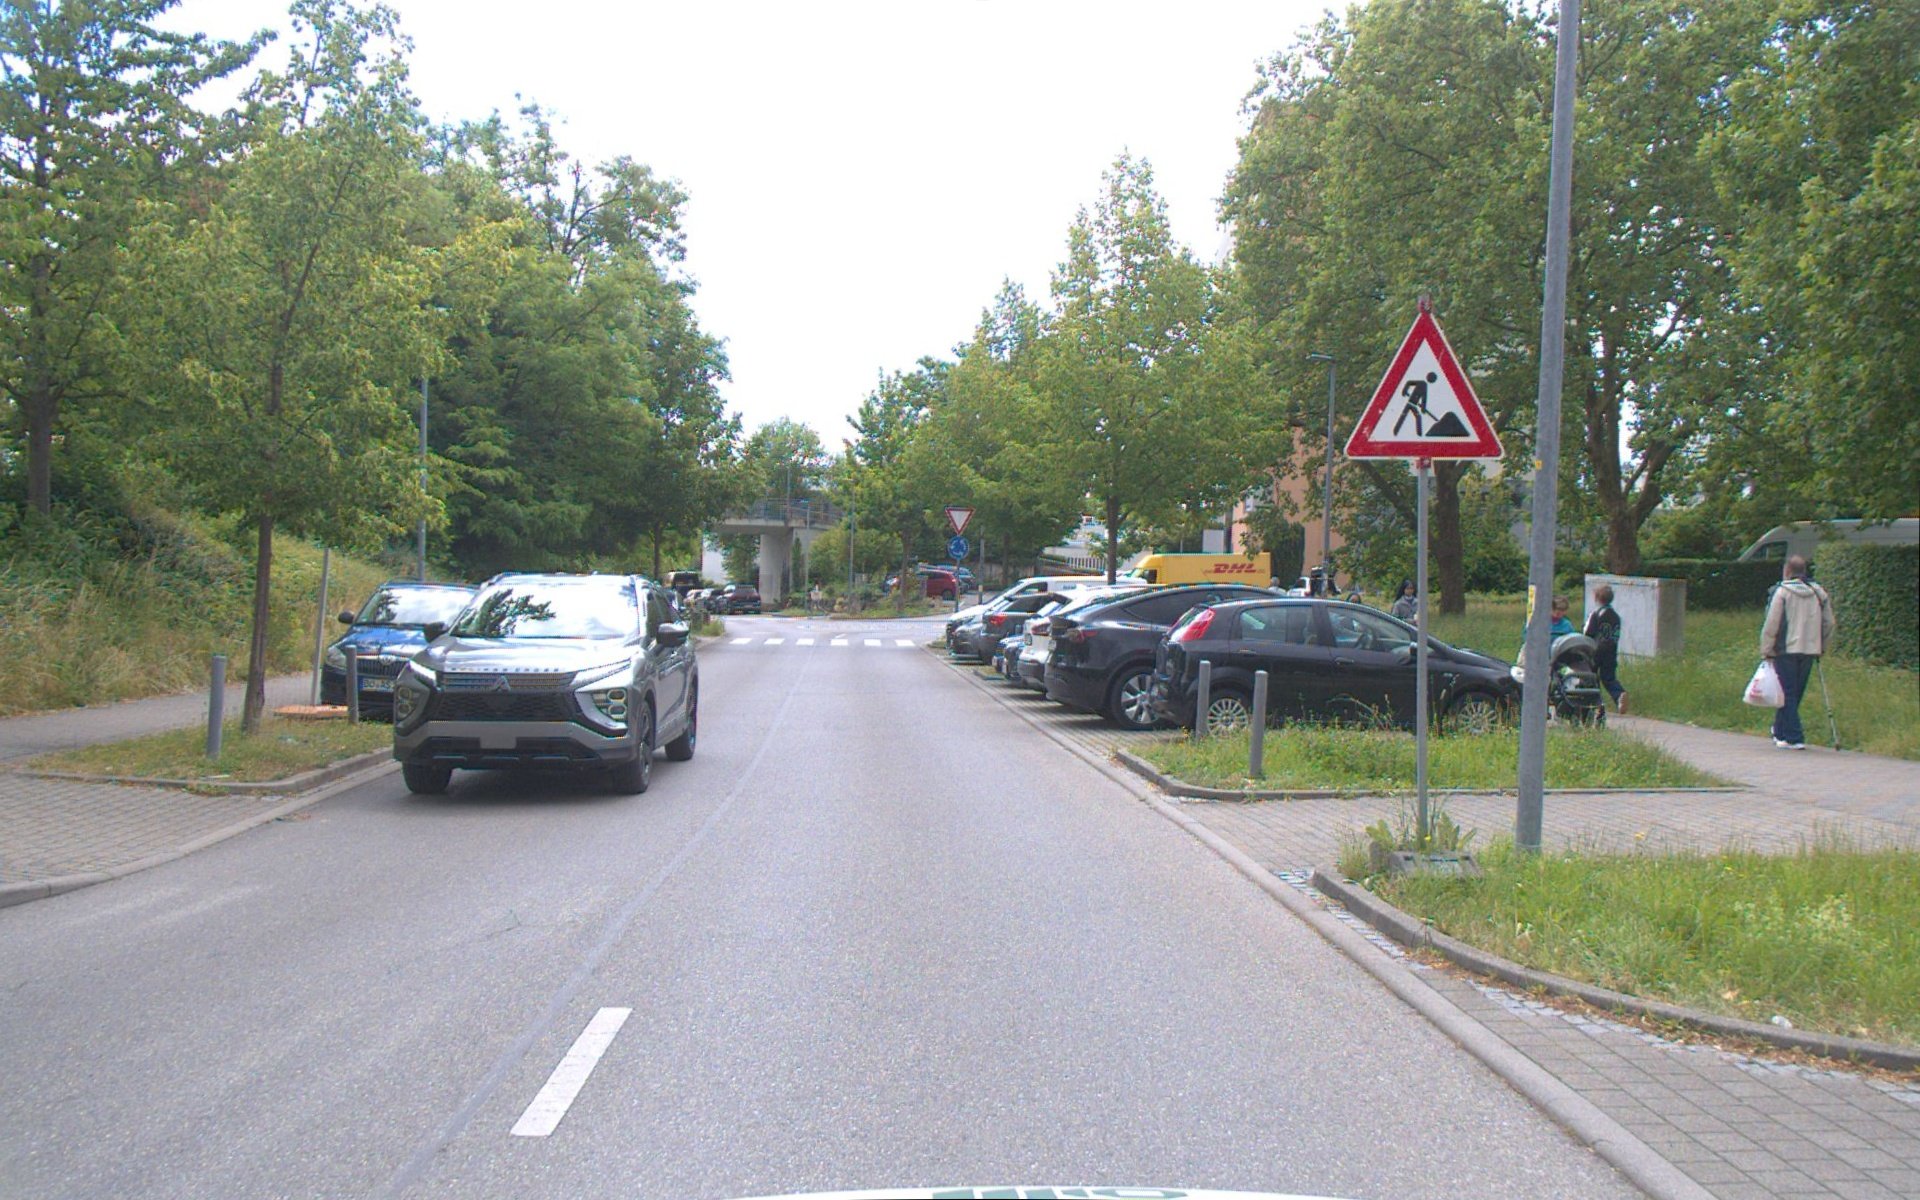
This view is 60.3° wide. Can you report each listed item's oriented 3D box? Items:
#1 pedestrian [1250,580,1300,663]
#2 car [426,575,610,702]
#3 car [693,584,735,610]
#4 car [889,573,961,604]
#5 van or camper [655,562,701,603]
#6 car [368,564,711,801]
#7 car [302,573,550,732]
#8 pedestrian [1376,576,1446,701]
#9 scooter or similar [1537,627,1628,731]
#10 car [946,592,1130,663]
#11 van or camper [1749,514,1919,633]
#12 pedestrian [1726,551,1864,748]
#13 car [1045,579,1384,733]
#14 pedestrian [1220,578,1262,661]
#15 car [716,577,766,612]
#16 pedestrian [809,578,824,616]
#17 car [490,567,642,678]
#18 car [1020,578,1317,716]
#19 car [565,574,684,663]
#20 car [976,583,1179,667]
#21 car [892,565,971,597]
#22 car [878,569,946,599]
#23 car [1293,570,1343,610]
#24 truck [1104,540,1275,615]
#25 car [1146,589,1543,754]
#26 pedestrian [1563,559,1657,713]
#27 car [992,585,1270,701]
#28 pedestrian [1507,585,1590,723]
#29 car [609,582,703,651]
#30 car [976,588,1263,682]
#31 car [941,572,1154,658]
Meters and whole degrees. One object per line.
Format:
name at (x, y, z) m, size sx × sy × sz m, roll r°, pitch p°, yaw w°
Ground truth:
pedestrian at (6.556, 0.449, 34.470) m, size 0.852 × 1.685 × 0.592 m, roll 1°, pitch 0°, yaw -5°
car at (-6.241, 0.475, 23.807) m, size 1.656 × 1.537 × 4.228 m, roll 4°, pitch 1°, yaw -4°
car at (-14.795, -0.148, 99.471) m, size 1.675 × 1.523 × 4.093 m, roll 0°, pitch 0°, yaw -21°
car at (-1.761, -0.602, 84.857) m, size 3.574 × 1.464 × 1.685 m, roll 2°, pitch 1°, yaw 1°
van or camper at (-18.812, -1.122, 110.067) m, size 1.965 × 2.567 × 5.437 m, roll -2°, pitch 0°, yaw -20°
car at (-3.207, 0.563, 13.487) m, size 1.858 × 1.610 × 4.165 m, roll 1°, pitch 0°, yaw -2°
car at (-5.975, 0.514, 18.979) m, size 1.656 × 1.513 × 3.951 m, roll 4°, pitch 1°, yaw -3°
pedestrian at (6.720, 0.561, 24.683) m, size 0.725 × 1.824 × 0.878 m, roll 1°, pitch 0°, yaw -3°
scooter or similar at (6.674, 0.831, 17.764) m, size 0.568 × 1.041 × 0.943 m, roll 2°, pitch 1°, yaw -3°
car at (1.605, 0.564, 35.011) m, size 3.748 × 1.395 × 1.842 m, roll -1°, pitch 0°, yaw -3°
van or camper at (22.477, -0.679, 41.841) m, size 4.381 × 2.847 × 2.112 m, roll 2°, pitch 1°, yaw 29°
pedestrian at (8.007, 0.456, 15.898) m, size 0.814 × 1.824 × 0.878 m, roll 1°, pitch 0°, yaw -3°
car at (2.843, 0.611, 18.956) m, size 3.596 × 1.601 × 1.593 m, roll 1°, pitch 2°, yaw -2°
pedestrian at (5.841, 0.400, 34.402) m, size 0.675 × 1.685 × 0.599 m, roll 1°, pitch 0°, yaw -5°
car at (-12.407, -0.280, 93.357) m, size 1.788 × 1.708 × 4.340 m, roll 0°, pitch -3°, yaw -22°
pedestrian at (-6.626, -0.142, 76.215) m, size 0.645 × 1.752 × 0.739 m, roll 1°, pitch 0°, yaw -4°
car at (-6.875, 0.330, 29.313) m, size 1.772 × 1.693 × 4.434 m, roll 4°, pitch 1°, yaw -4°
car at (2.654, 0.579, 21.651) m, size 3.596 × 1.675 × 1.851 m, roll 1°, pitch 1°, yaw -2°
car at (-7.025, 0.330, 35.083) m, size 1.764 × 1.643 × 4.475 m, roll 4°, pitch 1°, yaw -4°
car at (2.282, 0.472, 32.841) m, size 3.750 × 1.546 × 1.909 m, roll -1°, pitch 0°, yaw -6°
car at (-1.648, -1.082, 94.930) m, size 4.451 × 1.697 × 1.944 m, roll 2°, pitch 1°, yaw -1°
car at (-2.593, -0.896, 90.125) m, size 3.574 × 1.524 × 1.685 m, roll 2°, pitch 1°, yaw 1°
car at (15.847, -0.465, 73.332) m, size 1.535 × 1.687 × 3.779 m, roll -1°, pitch 1°, yaw 3°
truck at (9.456, -0.896, 68.531) m, size 6.668 × 2.750 × 2.471 m, roll 1°, pitch -6°, yaw -4°
car at (3.796, 0.682, 16.708) m, size 3.596 × 1.524 × 1.645 m, roll 1°, pitch 1°, yaw -2°
pedestrian at (7.925, 0.422, 20.187) m, size 0.725 × 1.824 × 0.878 m, roll 1°, pitch 0°, yaw -3°
car at (2.480, 0.612, 24.466) m, size 3.904 × 1.545 × 1.884 m, roll 2°, pitch 0°, yaw 3°
pedestrian at (6.601, 0.591, 18.585) m, size 0.606 × 1.494 × 0.735 m, roll 1°, pitch 0°, yaw -3°
car at (-7.462, 0.369, 40.922) m, size 1.656 × 1.490 × 4.453 m, roll 4°, pitch 0°, yaw -4°
car at (2.635, 0.571, 27.879) m, size 4.489 × 1.518 × 1.948 m, roll 0°, pitch 0°, yaw -9°
car at (1.978, 0.331, 38.161) m, size 4.681 × 1.863 × 1.841 m, roll -1°, pitch 0°, yaw -6°
